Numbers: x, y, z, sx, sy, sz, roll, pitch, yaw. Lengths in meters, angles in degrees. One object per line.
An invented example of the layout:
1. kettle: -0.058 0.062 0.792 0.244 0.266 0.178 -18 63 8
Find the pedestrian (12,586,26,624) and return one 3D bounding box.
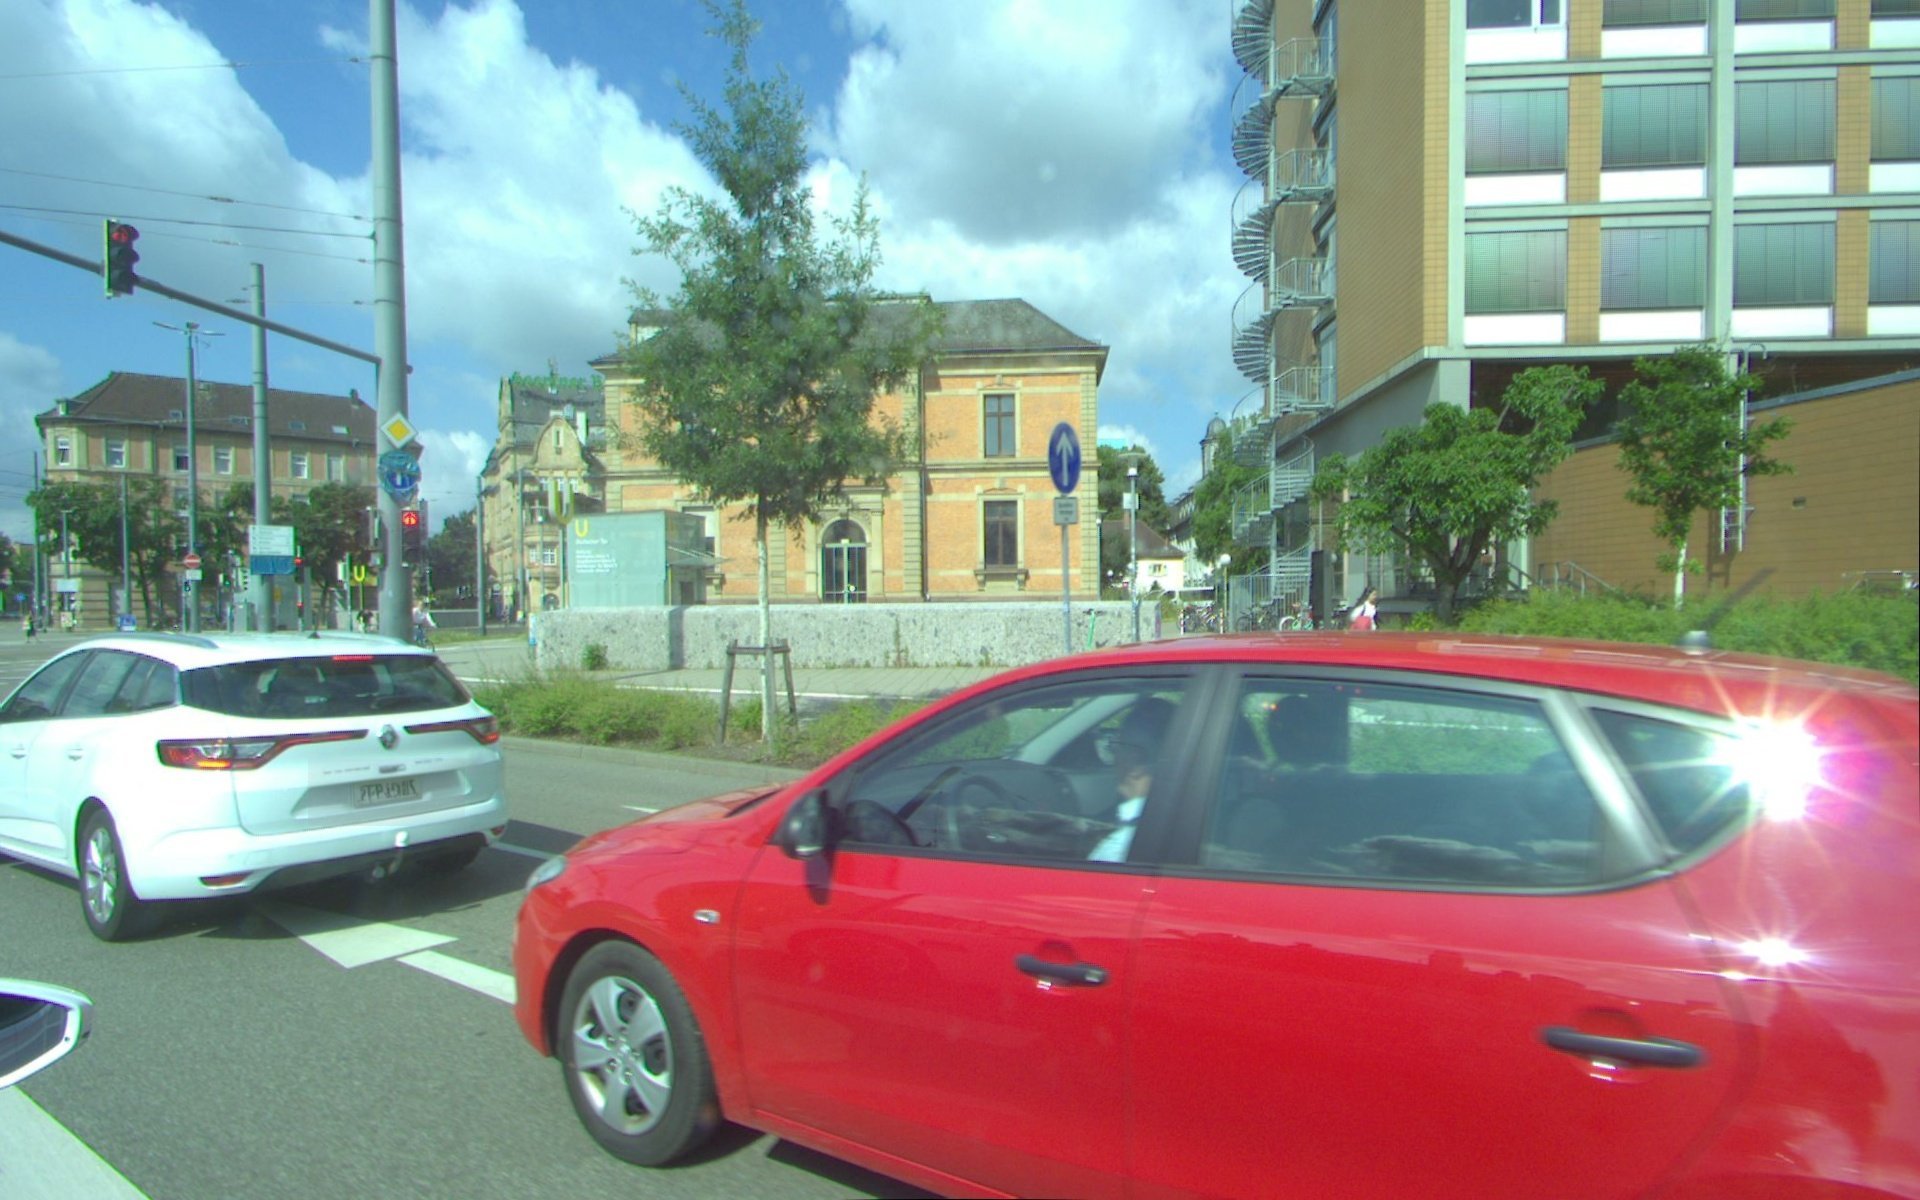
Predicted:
1. pedestrian: -78.247 0.427 83.285 0.659 3.160 0.883 1 -1 -32

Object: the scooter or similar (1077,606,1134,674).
1. scooter or similar: 2.790 0.743 19.321 0.427 1.200 1.532 -1 2 -20

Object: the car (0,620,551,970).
1. car: -4.702 0.887 6.175 4.610 1.447 1.754 -2 -2 33

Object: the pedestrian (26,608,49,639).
1. pedestrian: -46.523 1.195 50.511 0.732 1.536 0.541 -1 1 -33

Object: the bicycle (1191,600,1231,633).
1. bicycle: 9.717 0.641 38.836 1.446 1.264 0.428 0 1 4

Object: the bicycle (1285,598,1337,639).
1. bicycle: 11.006 0.581 31.417 1.446 1.264 0.428 0 1 4

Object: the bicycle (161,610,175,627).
1. bicycle: -56.164 1.283 70.972 0.752 1.181 2.663 -1 0 -39

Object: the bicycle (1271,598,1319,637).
1. bicycle: 11.015 0.579 32.944 1.446 1.264 0.428 0 1 4

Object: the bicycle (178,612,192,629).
1. bicycle: -55.400 1.424 71.591 0.752 1.181 2.663 -1 0 -39

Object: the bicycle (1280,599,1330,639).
1. bicycle: 10.991 0.600 31.948 1.446 1.264 0.428 0 1 4

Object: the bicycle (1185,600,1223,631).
1. bicycle: 9.870 0.625 40.496 1.446 1.264 0.428 0 1 4

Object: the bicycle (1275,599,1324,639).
1. bicycle: 11.002 0.606 32.450 1.446 1.264 0.428 0 1 4

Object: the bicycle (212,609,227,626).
1. bicycle: -53.876 1.250 72.857 0.752 1.181 2.663 -1 0 -39

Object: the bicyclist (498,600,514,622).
1. bicyclist: -36.710 0.869 81.018 0.603 1.697 1.147 0 2 6

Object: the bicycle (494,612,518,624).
1. bicycle: -36.771 1.453 81.078 0.831 0.969 1.777 -2 0 12

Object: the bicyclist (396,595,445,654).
1. bicyclist: -13.859 0.623 25.724 1.154 1.477 0.632 0 1 34

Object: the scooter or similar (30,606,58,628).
1. scooter or similar: -61.045 1.151 66.742 2.774 1.403 1.170 -2 -2 43

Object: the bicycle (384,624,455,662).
1. bicycle: -13.861 1.093 25.649 2.244 0.909 0.649 0 0 35

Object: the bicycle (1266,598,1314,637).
1. bicycle: 11.009 0.584 33.453 1.446 1.264 0.428 0 1 4

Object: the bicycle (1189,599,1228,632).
1. bicycle: 9.864 0.612 39.836 1.446 1.264 0.428 0 1 4

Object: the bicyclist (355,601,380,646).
1. bicyclist: -22.571 0.877 38.135 0.573 1.694 0.928 -2 2 -43

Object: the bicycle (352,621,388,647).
1. bicycle: -22.450 1.269 38.089 0.753 0.887 1.791 -4 3 -43

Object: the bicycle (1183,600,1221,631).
1. bicycle: 9.939 0.623 41.102 1.446 1.264 0.428 0 1 4

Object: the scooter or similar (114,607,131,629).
1. scooter or similar: -57.625 1.218 68.904 0.871 1.502 1.996 -1 0 -41

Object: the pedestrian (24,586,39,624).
1. pedestrian: -77.604 0.439 83.681 0.717 3.115 0.883 1 -1 -32

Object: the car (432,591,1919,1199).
1. car: 0.442 0.787 2.822 4.007 1.486 1.639 -1 -2 32

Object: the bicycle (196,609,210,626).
1. bicycle: -54.622 1.252 72.229 0.752 1.181 2.663 -1 0 -39

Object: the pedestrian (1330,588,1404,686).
1. pedestrian: 6.926 0.612 17.069 0.755 1.599 0.956 -1 1 -12
